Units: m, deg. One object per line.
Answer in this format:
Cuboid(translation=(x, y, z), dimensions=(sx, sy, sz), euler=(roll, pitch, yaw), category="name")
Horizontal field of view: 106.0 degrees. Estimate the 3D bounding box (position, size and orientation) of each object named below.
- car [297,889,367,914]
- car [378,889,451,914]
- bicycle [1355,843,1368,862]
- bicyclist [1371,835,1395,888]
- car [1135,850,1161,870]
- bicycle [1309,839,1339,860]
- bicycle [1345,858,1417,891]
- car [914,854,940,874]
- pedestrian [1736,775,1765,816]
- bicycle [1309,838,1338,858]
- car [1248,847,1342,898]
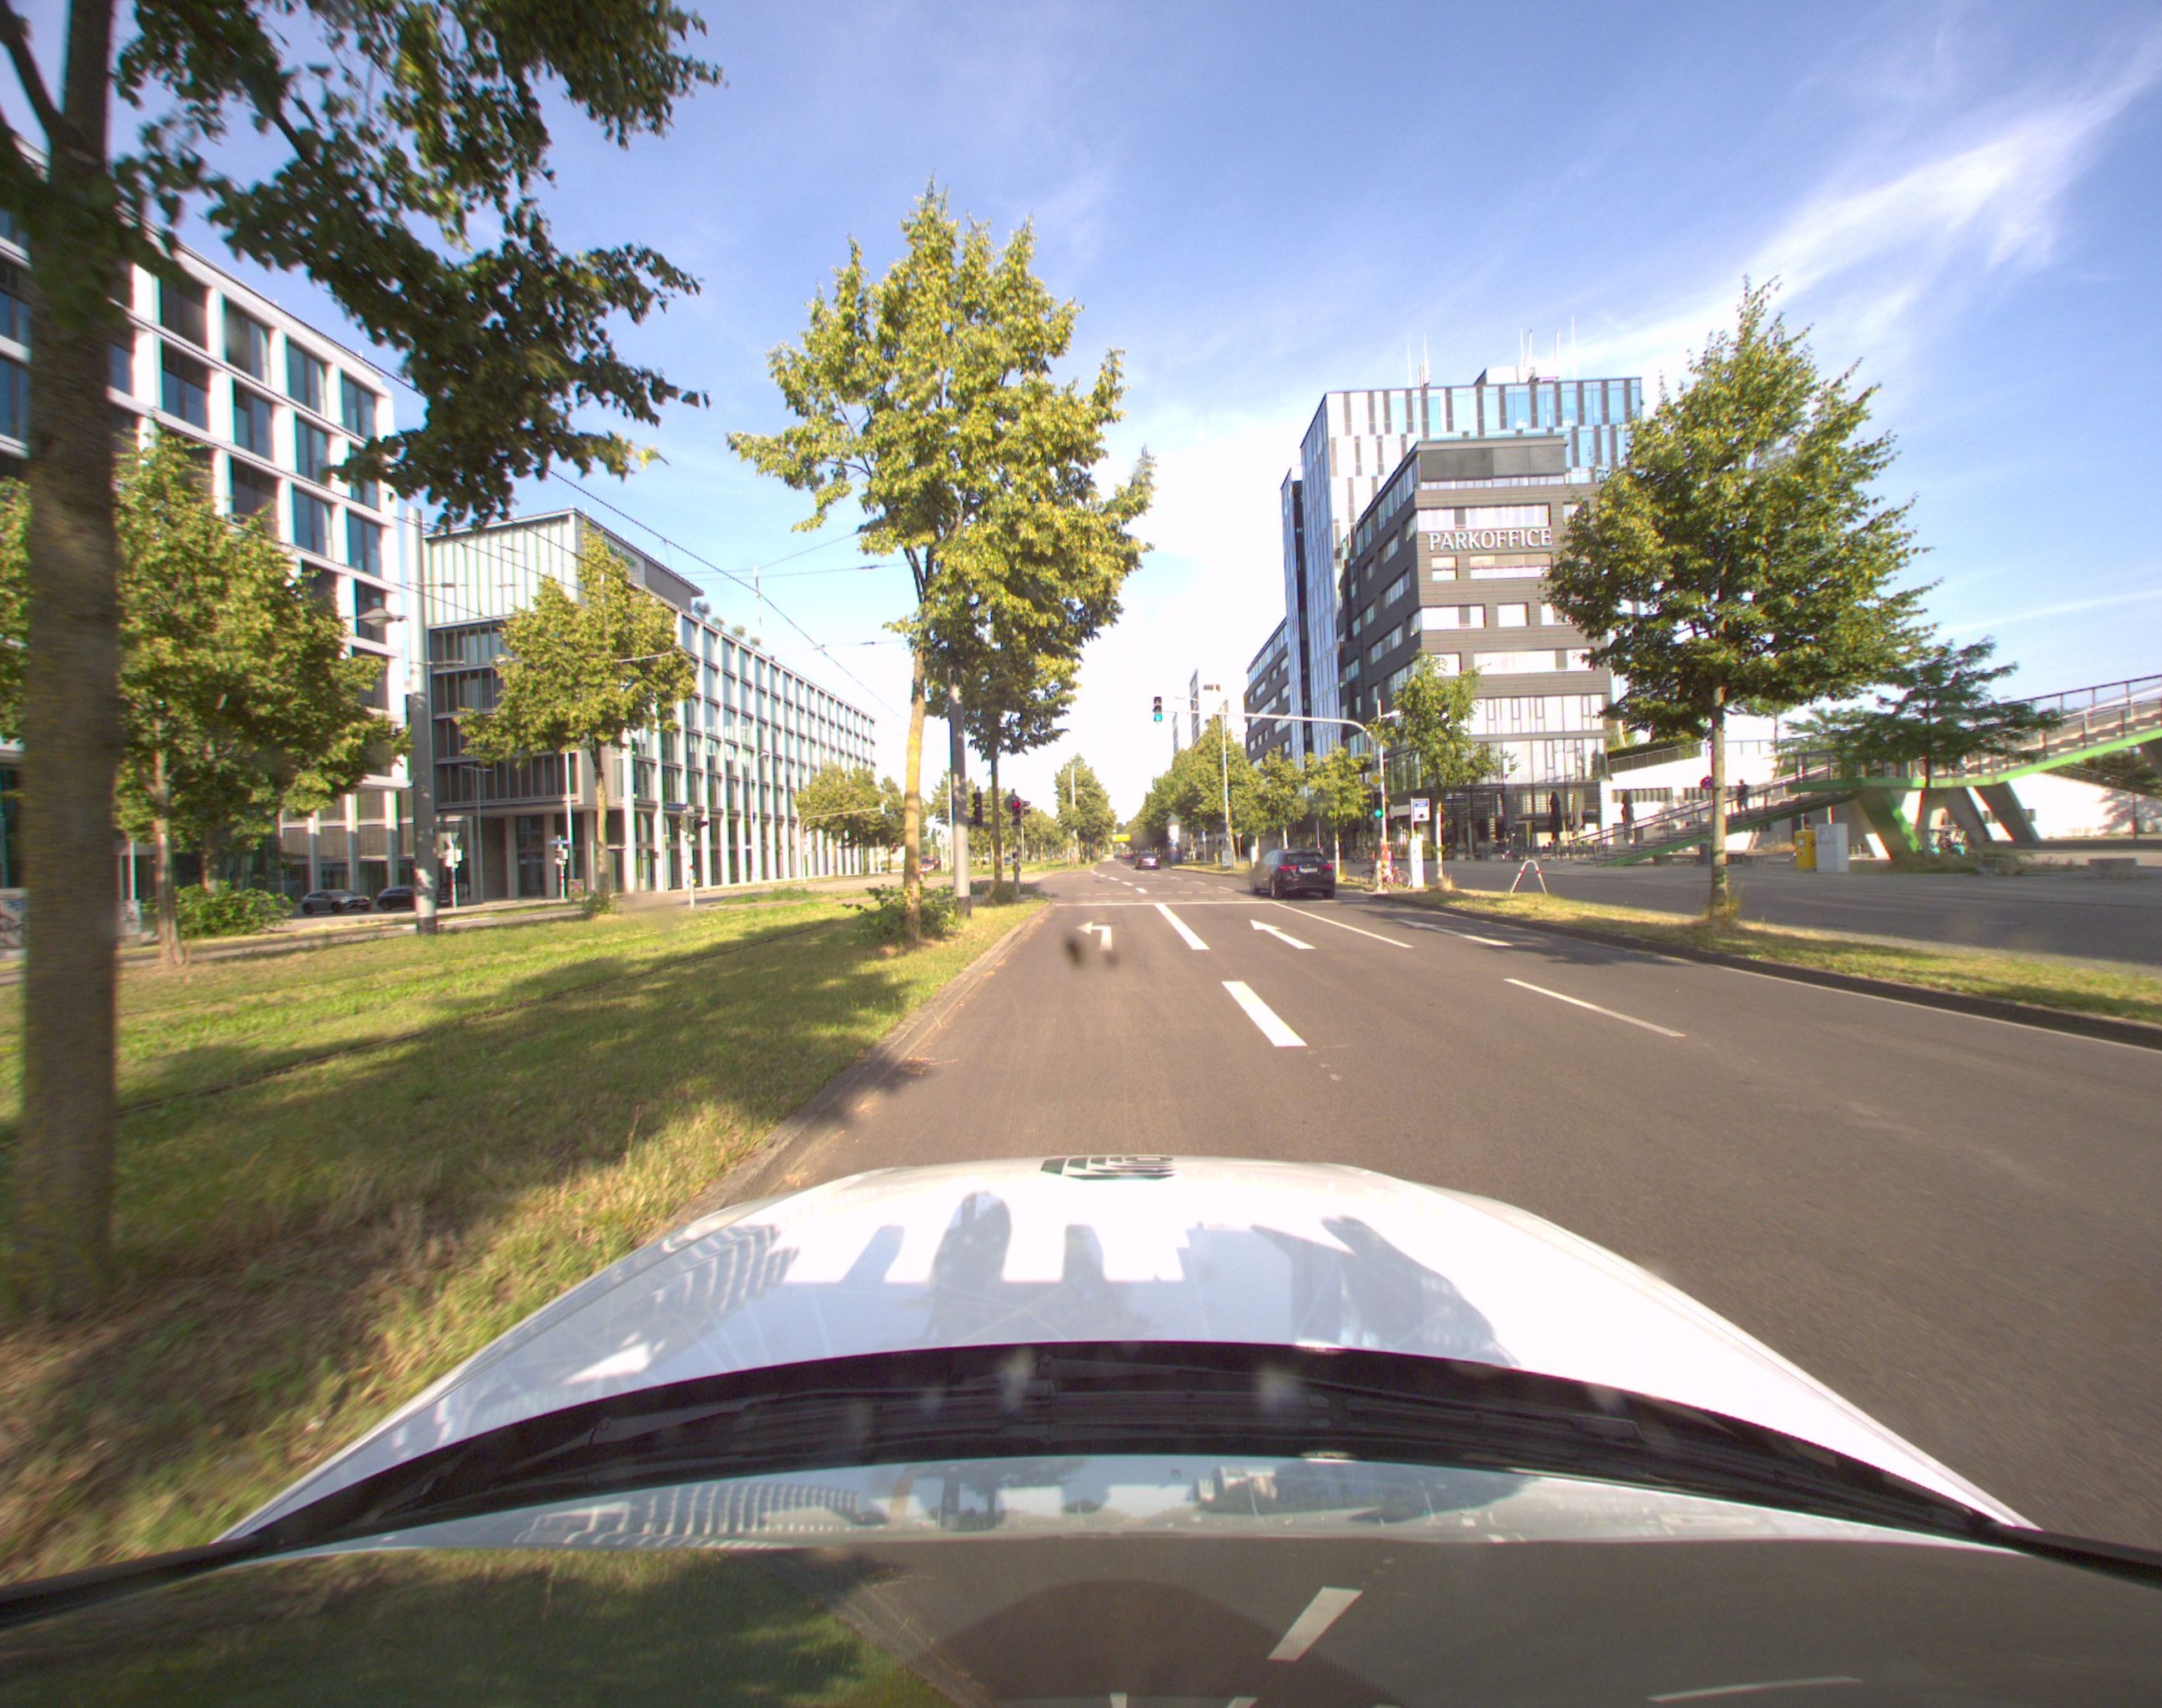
Cuboid(translation=(-47.299, 2.978, 51.457), dimensions=(3.638, 1.424, 1.582), euler=(0, -1, 16), category="car")
Cuboid(translation=(-40.659, 2.871, 49.716), dimensions=(3.478, 1.424, 1.580), euler=(0, 0, 11), category="car")
Cuboid(translation=(20.522, -0.085, 59.526), dimensions=(0.371, 1.346, 1.895), euler=(0, -1, 3), category="bicycle")
Cuboid(translation=(9.719, 0.243, 26.209), dimensions=(0.573, 1.707, 0.541), euler=(0, -1, 0), category="bicyclist")
Cuboid(translation=(5.301, 0.458, 64.820), dimensions=(1.852, 1.524, 3.787), euler=(0, 0, 2), category="car")
Cuboid(translation=(21.867, -0.379, 73.450), dimensions=(2.548, 1.857, 0.571), euler=(0, -1, 11), category="bicycle")
Cuboid(translation=(9.645, 0.657, 26.209), dimensions=(2.128, 1.013, 0.571), euler=(0, -1, -2), category="bicycle")
Cuboid(translation=(-14.002, 0.881, 74.322), dimensions=(1.679, 1.775, 3.880), euler=(0, 0, -2), category="car")
Cuboid(translation=(29.165, -2.543, 35.463), dimensions=(0.688, 1.692, 0.790), euler=(-1, -1, 15), category="pedestrian")
Cuboid(translation=(21.536, -0.525, 72.439), dimensions=(2.419, 1.746, 0.556), euler=(0, -1, 11), category="bicycle")
Cuboid(translation=(6.388, 0.521, 24.749), dimensions=(1.769, 1.424, 3.959), euler=(0, 0, -1), category="car")
